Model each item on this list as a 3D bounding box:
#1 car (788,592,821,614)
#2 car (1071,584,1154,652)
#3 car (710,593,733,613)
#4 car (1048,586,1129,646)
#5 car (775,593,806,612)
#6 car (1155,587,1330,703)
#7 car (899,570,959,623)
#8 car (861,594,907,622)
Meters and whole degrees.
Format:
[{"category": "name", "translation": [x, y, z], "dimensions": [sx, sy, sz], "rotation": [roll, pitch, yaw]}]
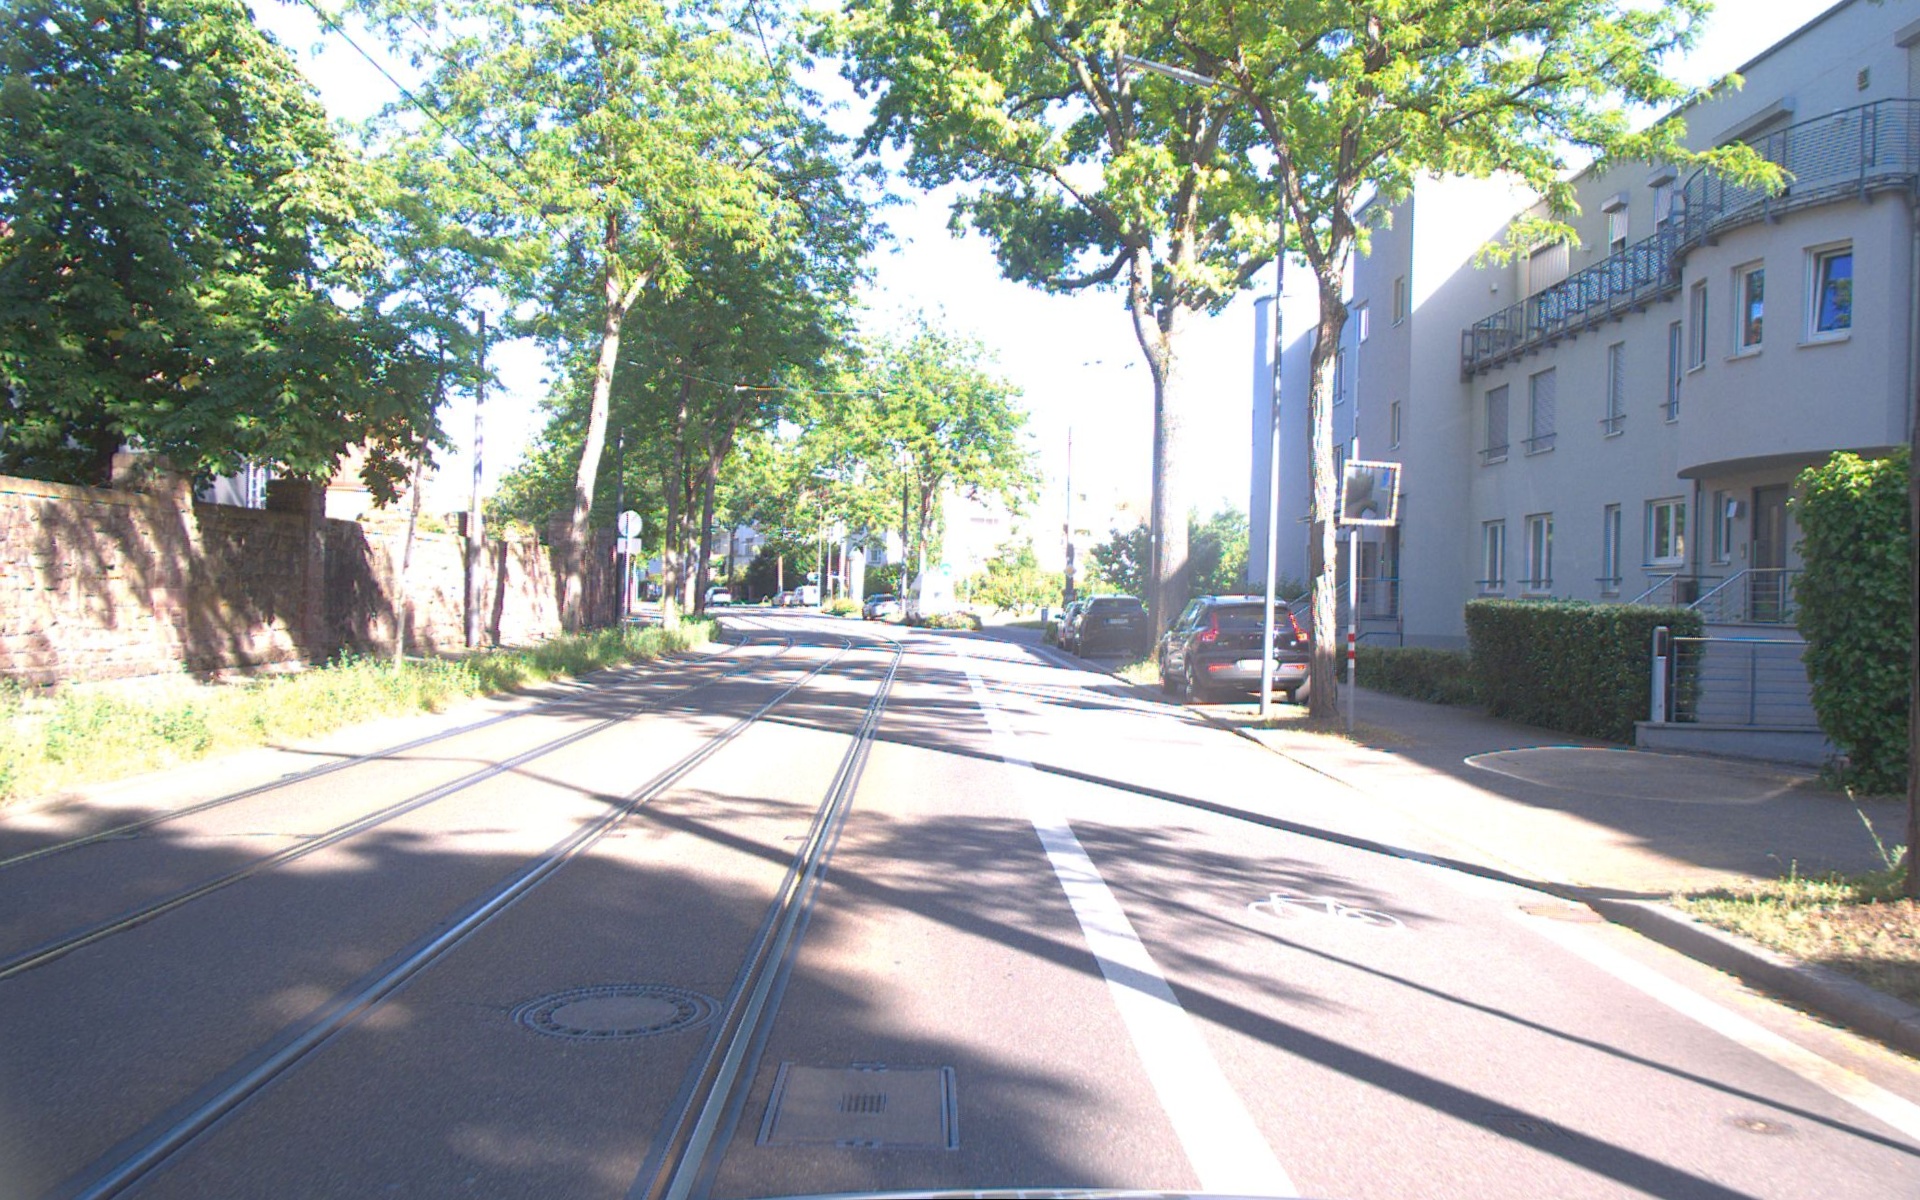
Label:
[{"category": "car", "translation": [-13.849, 0.235, 147.255], "dimensions": [1.972, 1.943, 4.369], "rotation": [-1, 0, -19]}, {"category": "car", "translation": [4.003, 0.446, 43.994], "dimensions": [1.961, 1.704, 4.394], "rotation": [-1, 0, 3]}, {"category": "car", "translation": [-21.812, 0.270, 151.114], "dimensions": [1.833, 1.704, 4.160], "rotation": [1, 0, -12]}, {"category": "car", "translation": [3.817, 0.457, 49.827], "dimensions": [1.962, 1.704, 4.391], "rotation": [-1, 0, -2]}, {"category": "car", "translation": [-15.690, 0.246, 153.169], "dimensions": [1.972, 1.704, 4.150], "rotation": [-1, 0, -19]}, {"category": "car", "translation": [4.451, 0.654, 26.734], "dimensions": [1.962, 1.704, 4.391], "rotation": [-1, 0, -1]}, {"category": "car", "translation": [-1.531, -0.175, 79.752], "dimensions": [1.960, 2.501, 4.492], "rotation": [1, 0, -14]}, {"category": "car", "translation": [-4.520, 0.462, 97.687], "dimensions": [1.968, 1.588, 4.377], "rotation": [1, 0, -13]}]
